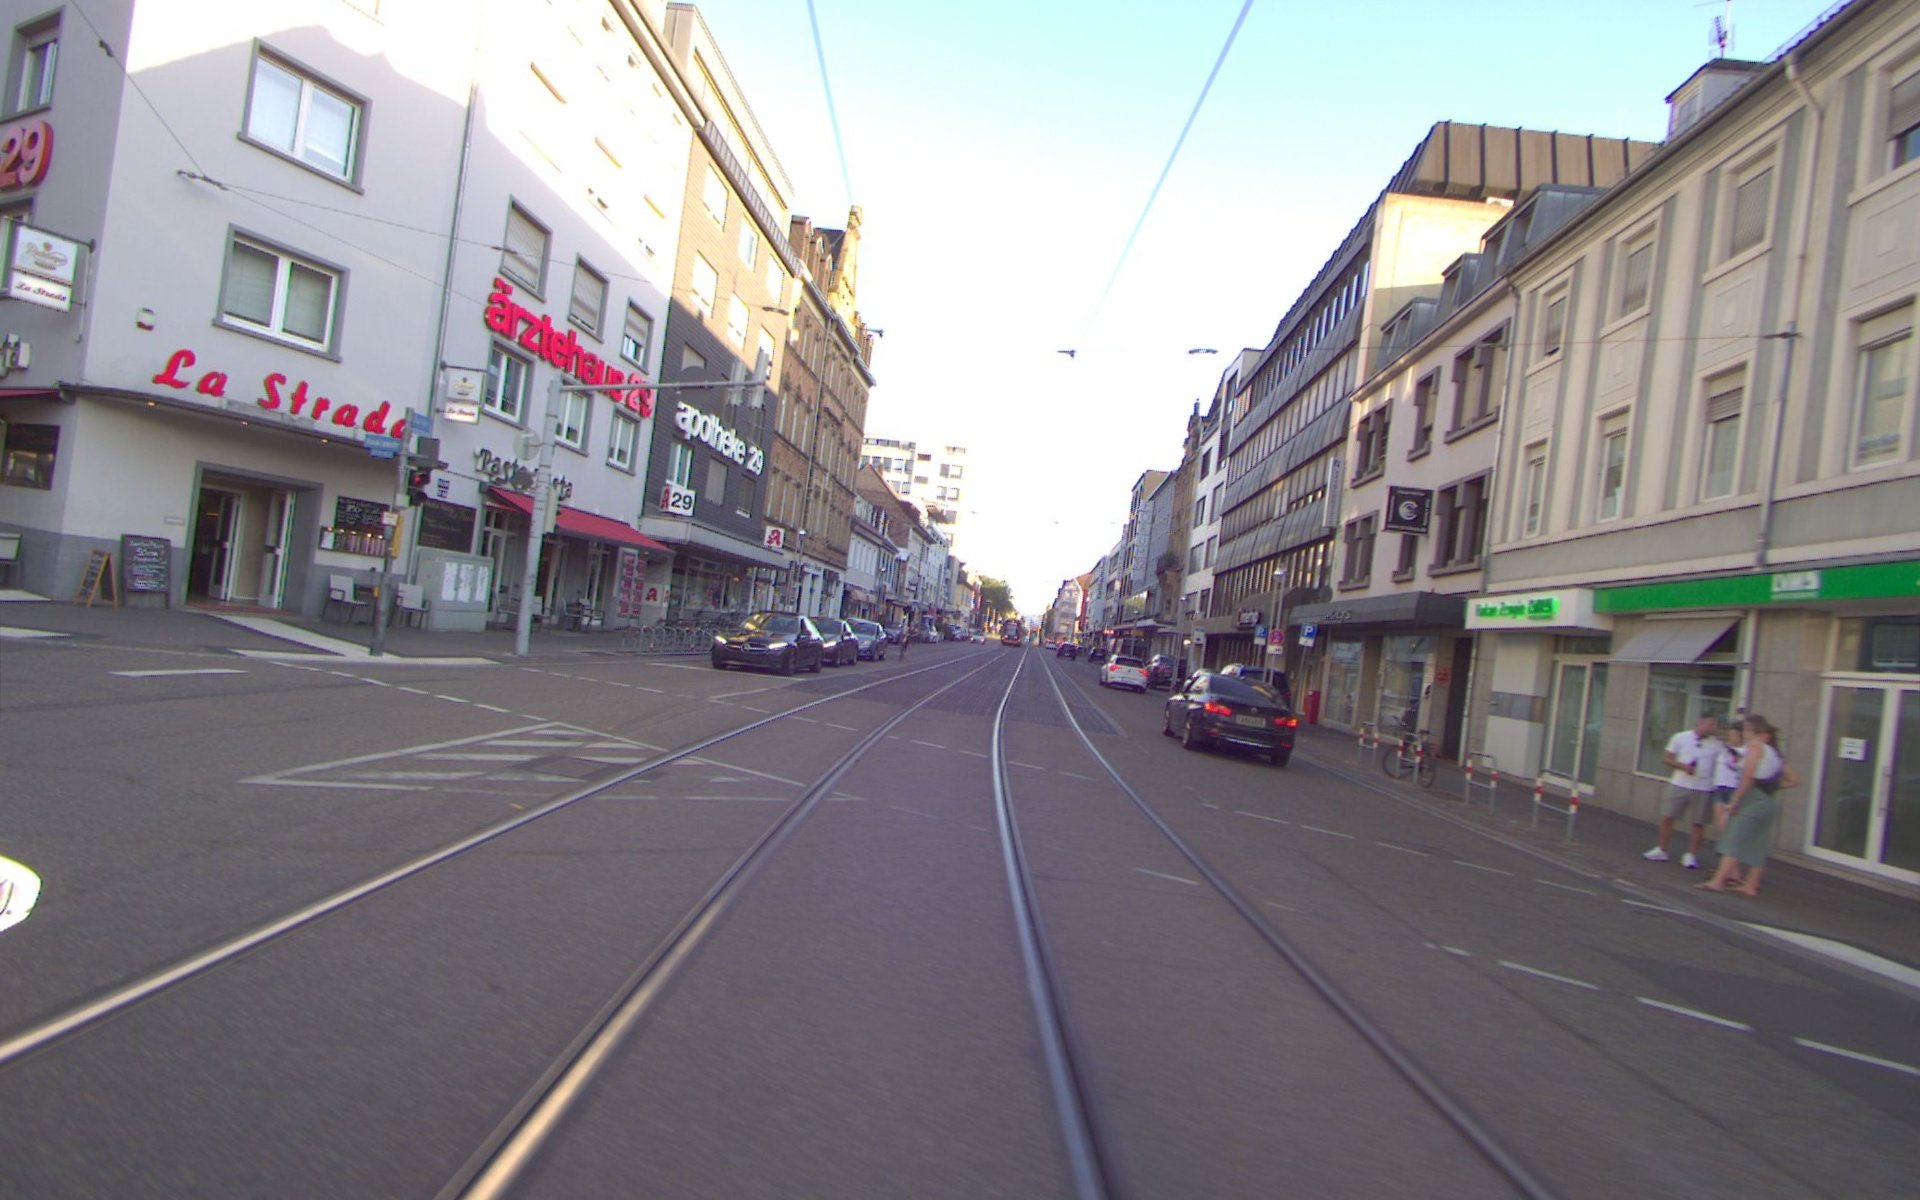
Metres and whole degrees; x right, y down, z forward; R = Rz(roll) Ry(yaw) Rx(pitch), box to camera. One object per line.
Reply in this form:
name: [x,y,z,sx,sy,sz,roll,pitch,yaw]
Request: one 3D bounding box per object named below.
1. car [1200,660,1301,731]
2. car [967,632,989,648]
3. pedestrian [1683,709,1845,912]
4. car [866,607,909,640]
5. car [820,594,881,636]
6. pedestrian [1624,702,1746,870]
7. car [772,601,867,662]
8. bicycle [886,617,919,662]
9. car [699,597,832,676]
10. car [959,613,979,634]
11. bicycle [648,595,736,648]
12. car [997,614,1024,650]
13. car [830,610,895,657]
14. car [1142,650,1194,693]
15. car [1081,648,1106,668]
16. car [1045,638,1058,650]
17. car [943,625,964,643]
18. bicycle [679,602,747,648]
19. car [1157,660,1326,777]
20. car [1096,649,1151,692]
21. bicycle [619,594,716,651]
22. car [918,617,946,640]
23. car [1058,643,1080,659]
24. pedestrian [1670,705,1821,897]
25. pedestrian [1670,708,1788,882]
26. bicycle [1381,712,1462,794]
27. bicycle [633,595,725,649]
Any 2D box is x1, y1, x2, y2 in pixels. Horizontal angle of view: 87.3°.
car: [8.900,2.875,31.216,1.962,1.722,4.514,7,-2,5]
car: [2.205,4.806,121.464,1.962,1.547,4.517,7,-3,8]
pedestrian: [7.999,2.054,10.053,0.889,1.791,0.780,7,-2,16]
car: [-4.728,1.591,66.438,1.954,1.724,4.991,7,-3,5]
car: [-5.818,0.854,54.179,1.954,1.724,4.992,7,-3,8]
pedestrian: [8.446,2.148,11.744,0.753,1.791,0.686,8,-2,-12]
car: [-4.230,0.989,30.966,1.962,1.541,4.402,6,-2,3]
bicycle: [-2.434,1.630,42.104,0.848,1.651,3.050,8,-1,-9]
car: [-4.472,0.864,23.879,1.944,1.486,4.483,6,-1,3]
car: [1.297,3.330,142.893,1.962,2.521,4.517,7,-3,7]
bicycle: [-7.847,0.632,29.500,2.254,1.207,0.655,9,1,-1]
car: [6.889,4.467,137.124,2.914,4.090,12.266,7,-3,3]
car: [-3.575,1.301,37.581,1.736,1.435,3.685,7,-3,3]
car: [10.022,3.410,48.748,1.779,1.649,3.754,10,-1,5]
car: [13.415,5.805,101.318,2.030,1.586,4.513,11,-1,5]
car: [15.122,7.268,166.359,1.963,1.586,4.513,10,-1,5]
car: [-0.735,4.165,122.379,1.938,1.724,4.991,7,-3,5]
bicycle: [-7.600,0.781,31.013,1.774,1.169,0.678,8,-2,-1]
car: [5.030,2.064,18.670,1.963,1.435,4.513,11,-1,5]
car: [6.968,2.988,43.278,1.740,1.399,4.513,10,-1,5]
bicycle: [-7.805,0.612,26.880,2.253,1.206,0.656,8,-2,0]
car: [-2.719,2.818,98.058,1.954,1.836,5.065,7,-3,5]
car: [10.426,4.898,96.468,1.762,1.186,4.513,11,-1,5]
pedestrian: [8.368,2.098,10.761,0.889,1.833,0.780,7,-2,16]
pedestrian: [8.637,2.165,11.316,0.620,1.791,0.682,8,-2,-12]
bicycle: [8.026,2.625,17.580,0.683,1.197,1.876,7,-3,9]
bicycle: [-7.848,0.627,28.137,2.253,1.206,0.656,8,-2,-1]
